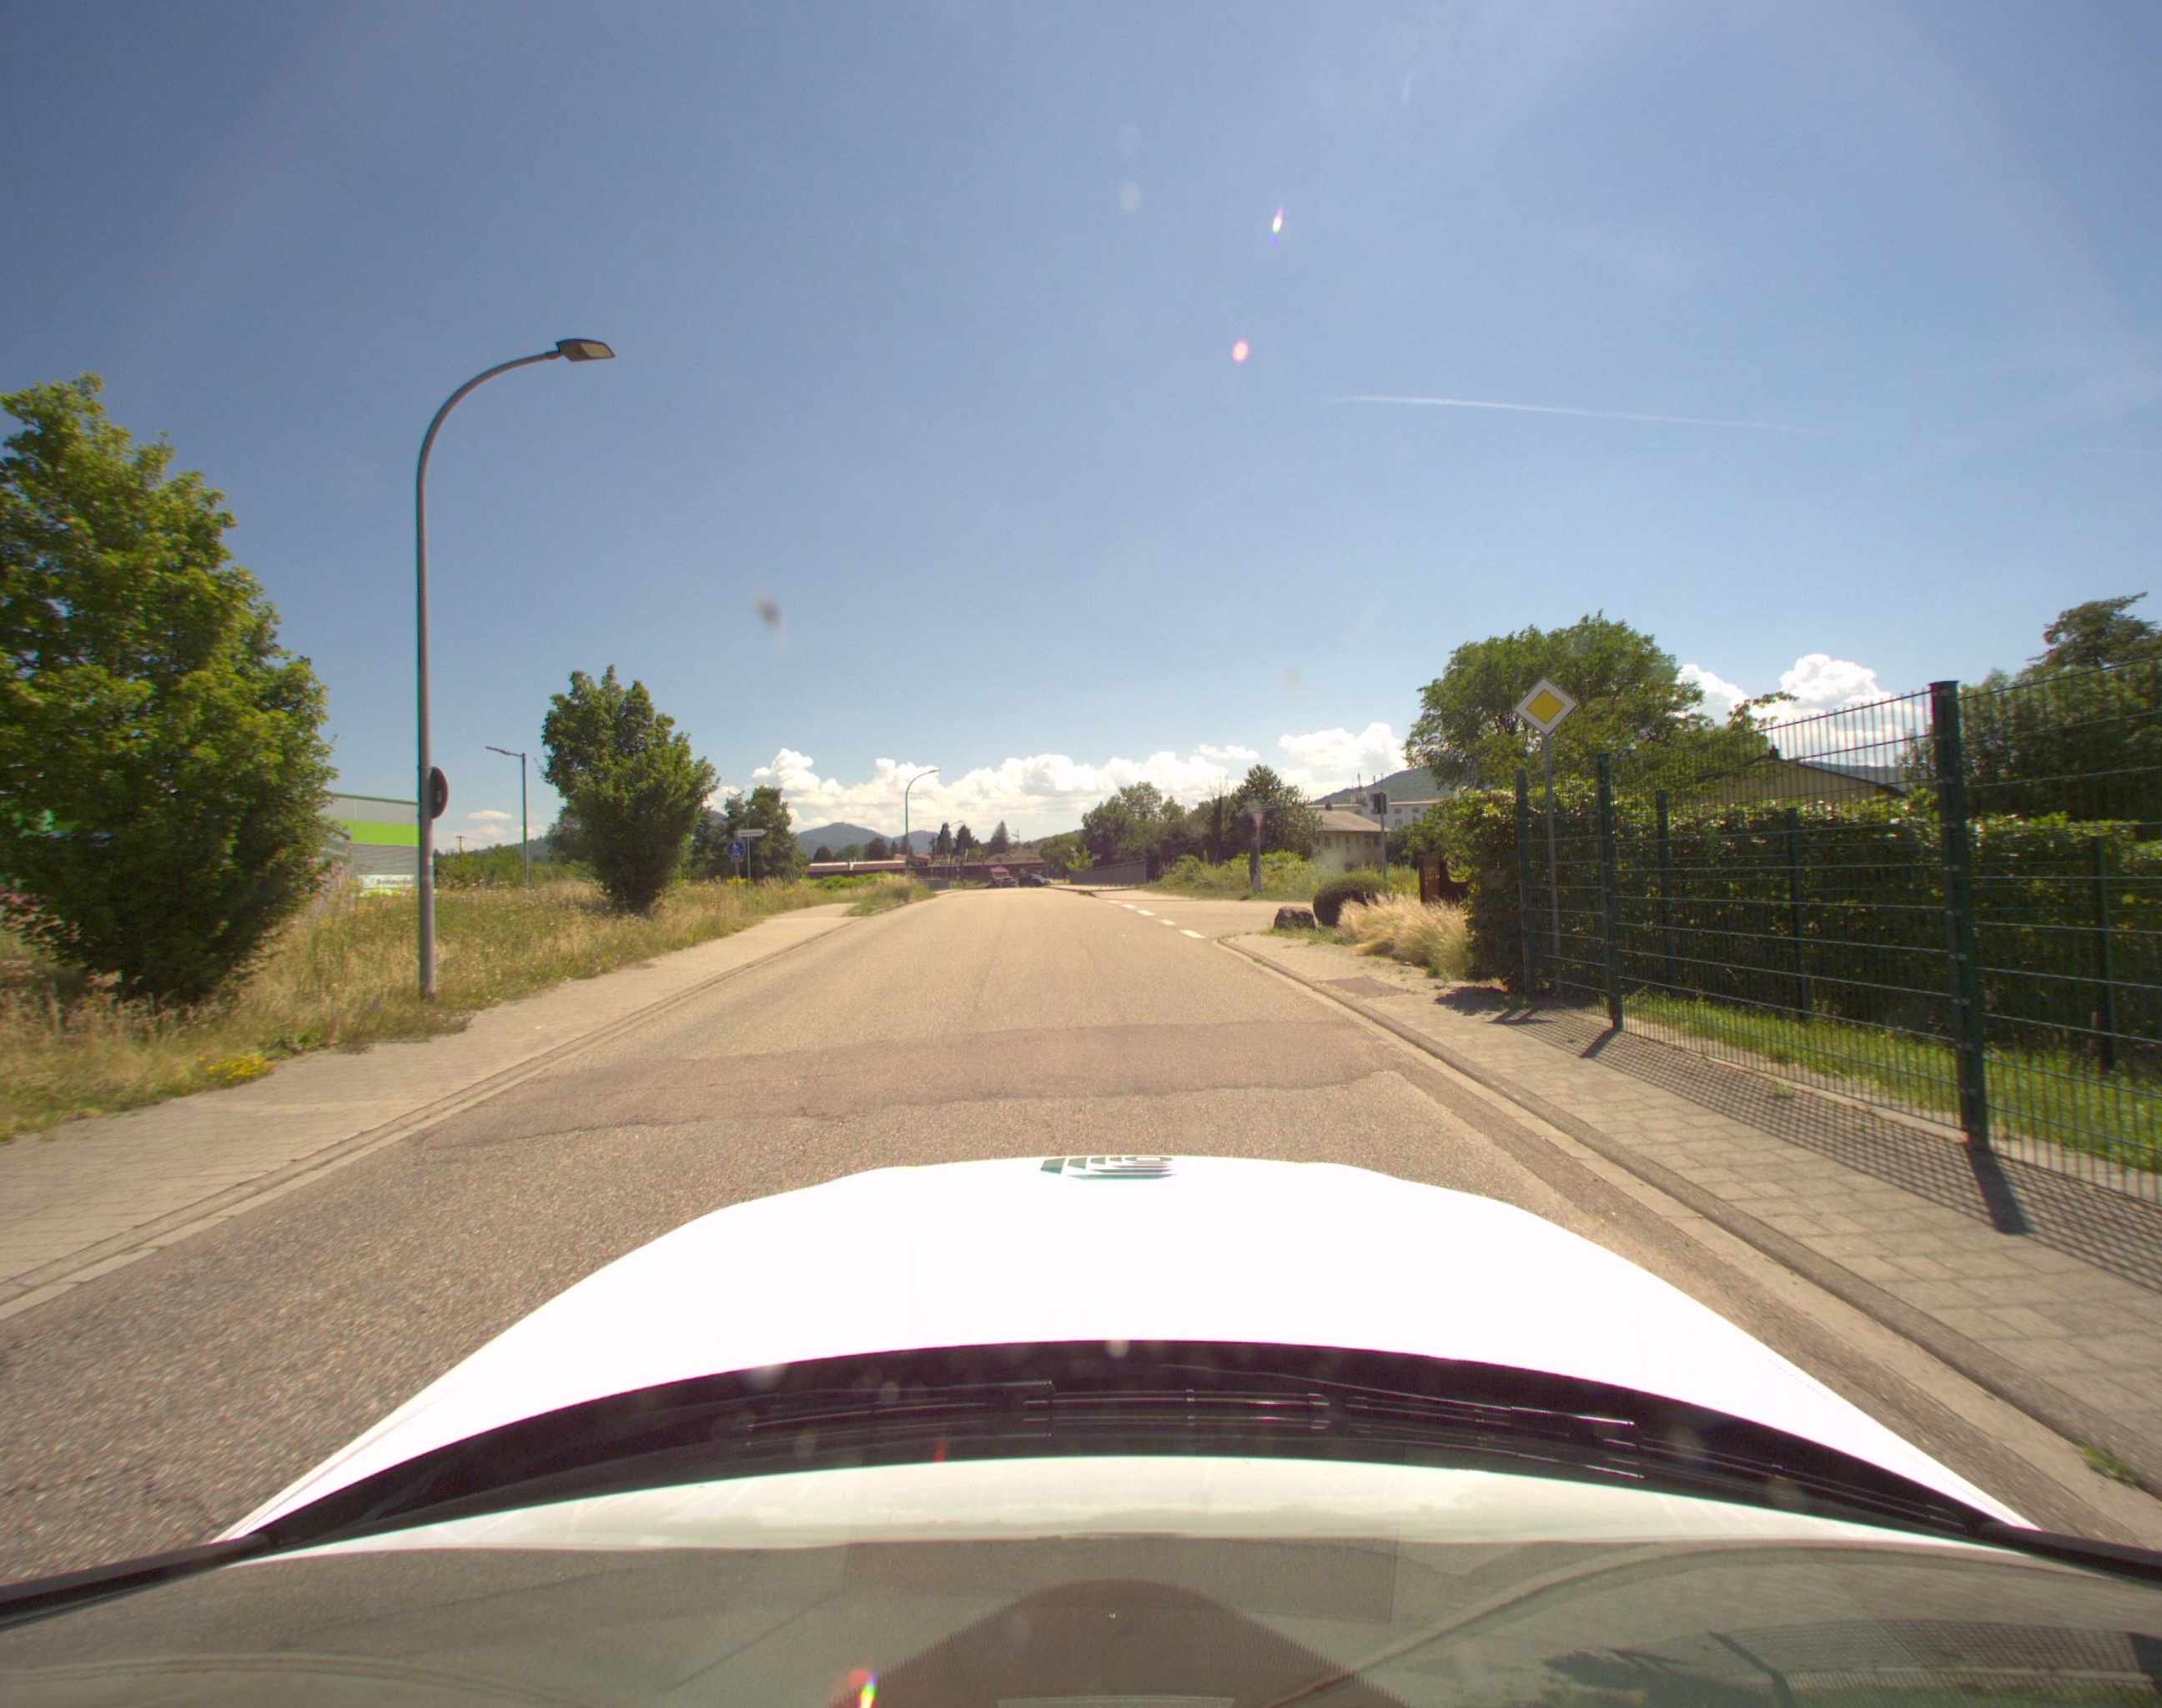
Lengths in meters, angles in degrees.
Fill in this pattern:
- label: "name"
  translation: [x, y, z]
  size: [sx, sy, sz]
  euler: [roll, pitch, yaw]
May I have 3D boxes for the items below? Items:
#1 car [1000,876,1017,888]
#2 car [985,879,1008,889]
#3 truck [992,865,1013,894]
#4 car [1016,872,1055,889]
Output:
- label: "car"
  translation: [-9.152, 3.555, 102.317]
  size: [1.992, 1.503, 3.988]
  euler: [0, -2, -8]
- label: "car"
  translation: [-15.492, 5.487, 148.780]
  size: [3.988, 1.702, 1.901]
  euler: [-2, 0, -11]
- label: "truck"
  translation: [-12.292, 4.015, 126.338]
  size: [2.992, 4.181, 11.778]
  euler: [-1, -3, -6]
- label: "car"
  translation: [-4.861, 2.797, 86.678]
  size: [3.722, 1.634, 1.899]
  euler: [-2, -1, 34]
